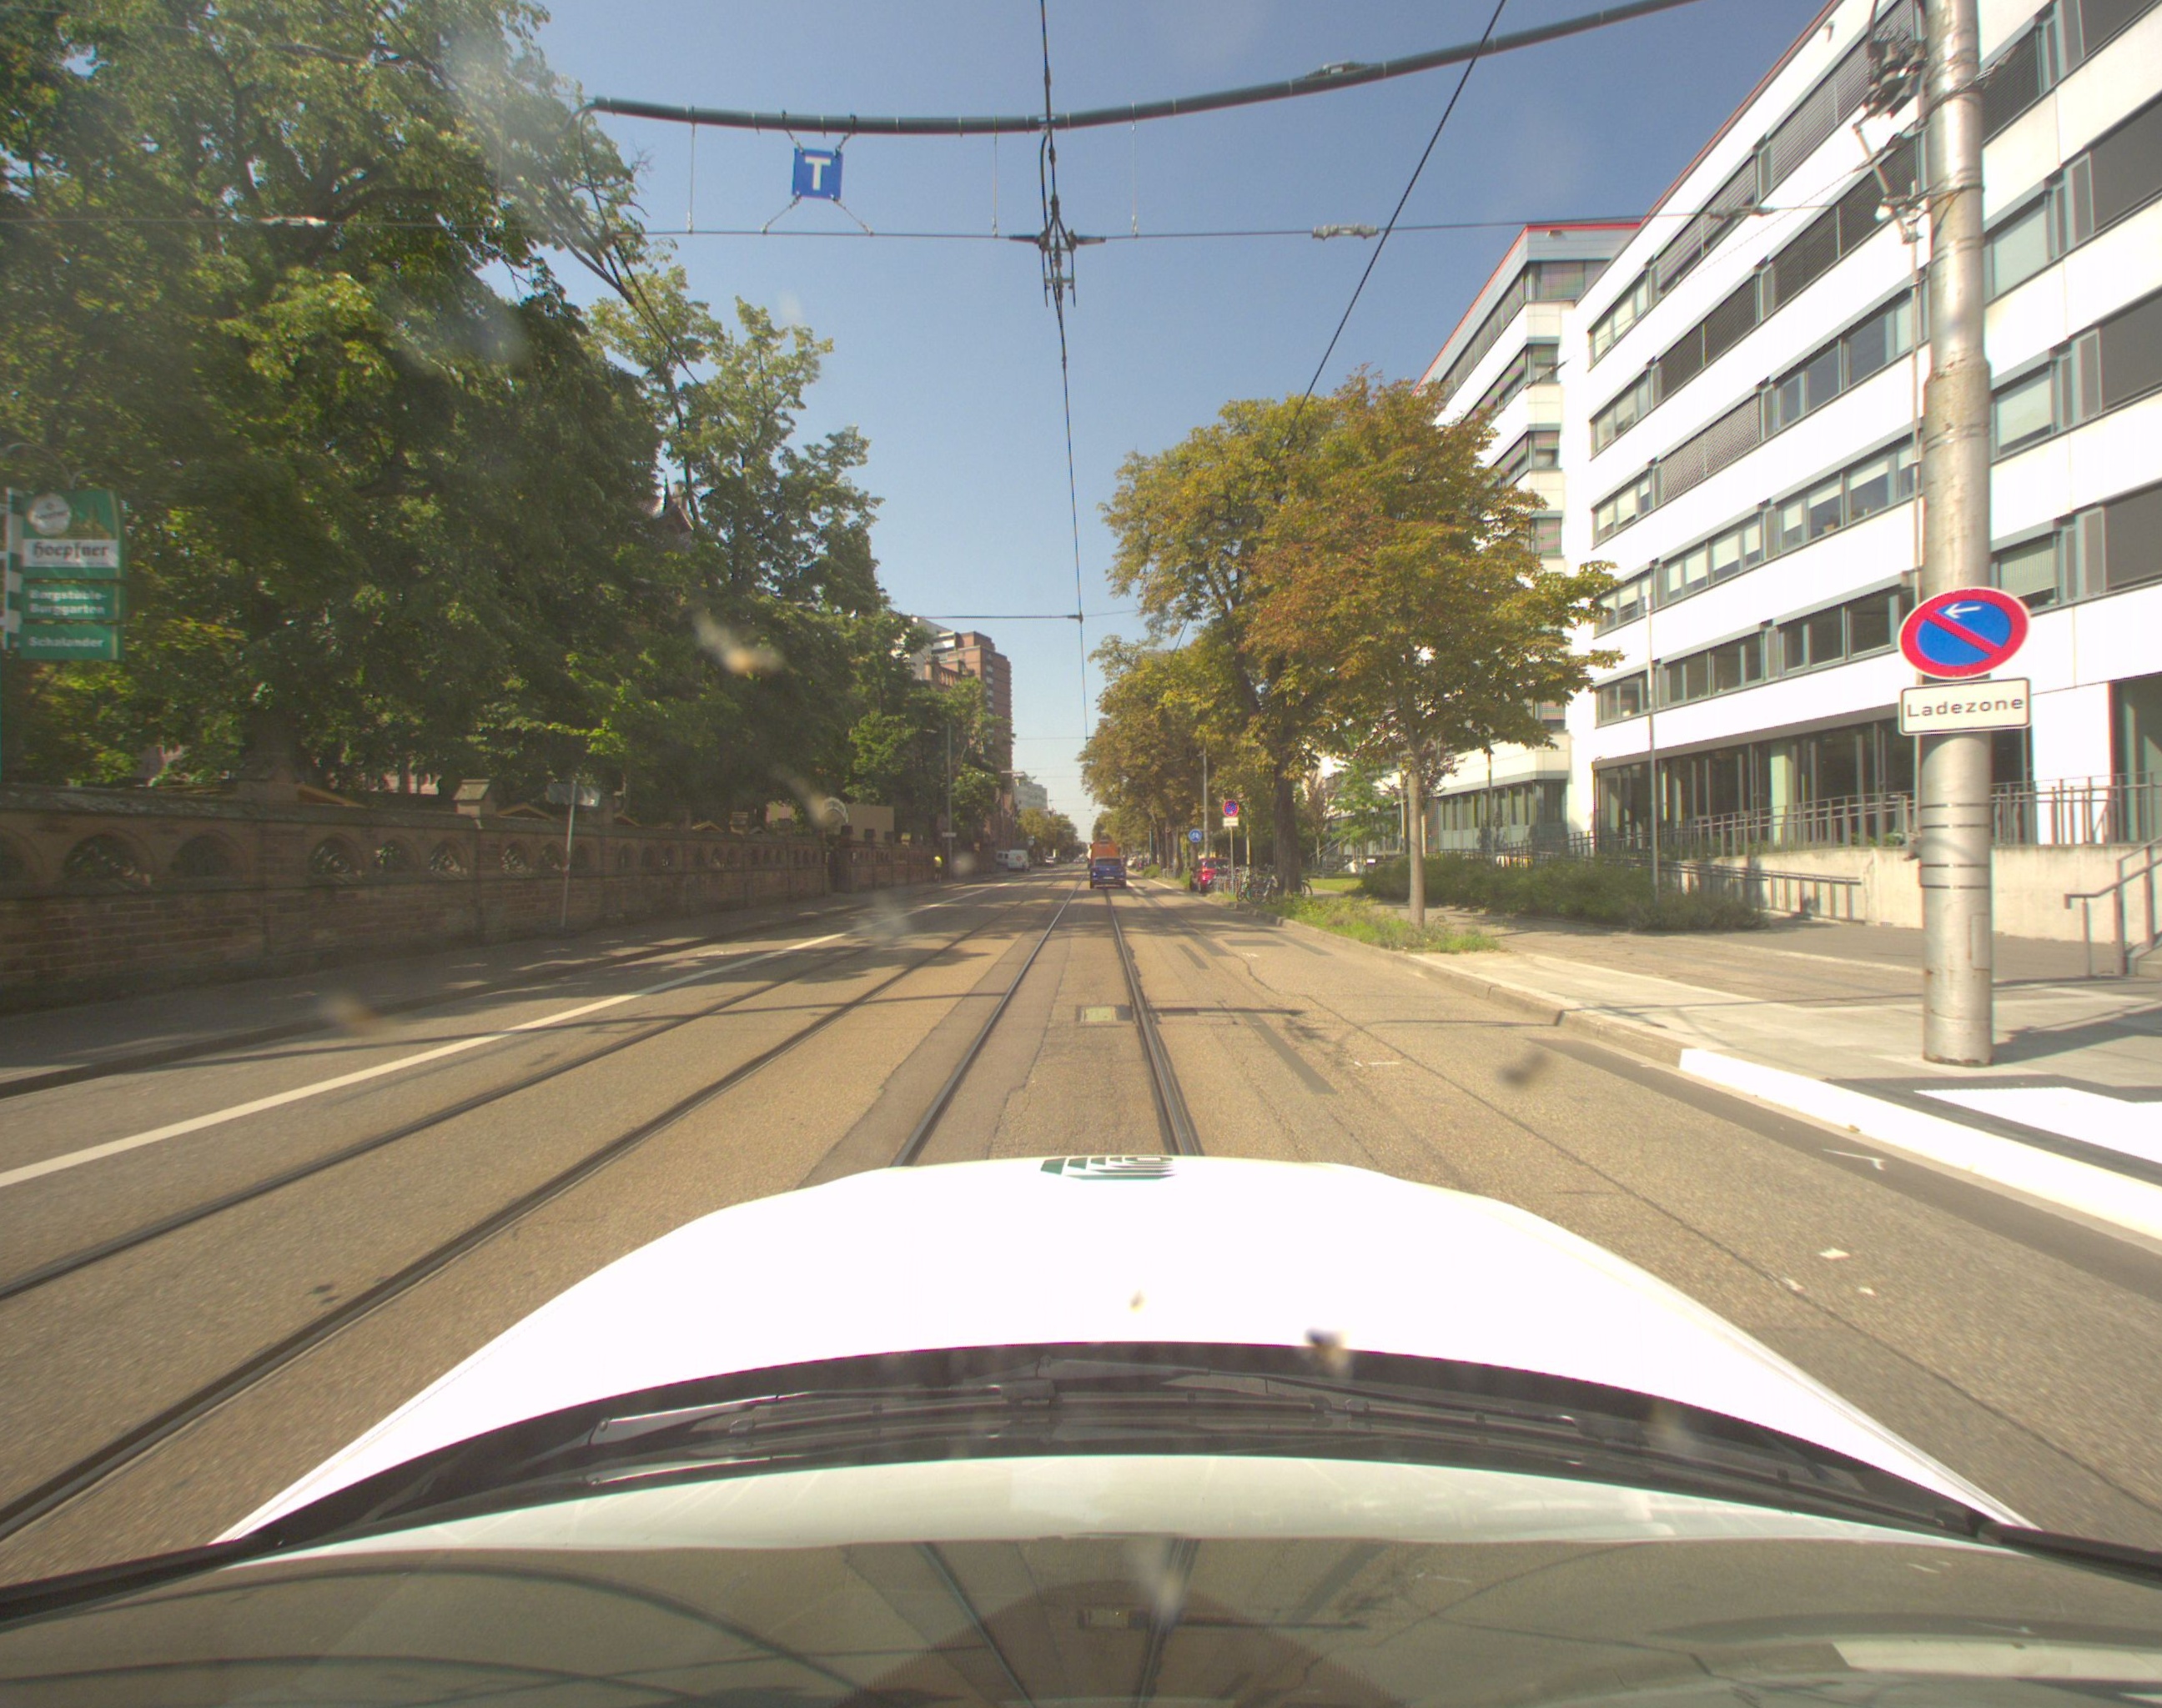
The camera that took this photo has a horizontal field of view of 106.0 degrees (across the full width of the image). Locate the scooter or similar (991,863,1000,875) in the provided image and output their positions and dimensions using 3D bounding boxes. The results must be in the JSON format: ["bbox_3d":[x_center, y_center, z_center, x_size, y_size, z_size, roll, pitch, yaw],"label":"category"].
[{"bbox_3d":[-8.540,1.502,81.702,0.336,1.178,1.185,-1,-1,26],"label":"scooter or similar"}]

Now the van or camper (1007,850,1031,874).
[{"bbox_3d":[-7.360,0.946,97.570,2.104,2.675,5.958,-1,-1,2],"label":"van or camper"}]

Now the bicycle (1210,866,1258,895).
[{"bbox_3d":[6.035,1.026,32.160,1.765,1.071,0.540,-2,-1,-1],"label":"bicycle"}]

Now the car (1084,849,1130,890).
[{"bbox_3d":[1.279,0.768,41.088,2.128,1.858,5.569,-2,-1,1],"label":"car"}]

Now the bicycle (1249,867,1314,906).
[{"bbox_3d":[5.921,0.952,24.148,1.765,1.071,0.540,-2,-1,-1],"label":"bicycle"}]

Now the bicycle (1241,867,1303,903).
[{"bbox_3d":[5.961,0.964,25.444,1.765,1.071,0.540,-2,-1,-1],"label":"bicycle"}]

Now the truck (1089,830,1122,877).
[{"bbox_3d":[1.716,-0.020,58.416,2.128,3.124,6.086,-2,-1,1],"label":"truck"}]

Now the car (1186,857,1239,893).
[{"bbox_3d":[5.794,0.881,36.307,1.749,1.462,4.275,-2,0,1],"label":"car"}]

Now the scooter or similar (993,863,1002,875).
[{"bbox_3d":[-8.569,1.524,84.009,0.336,1.178,1.185,-1,-1,26],"label":"scooter or similar"}]

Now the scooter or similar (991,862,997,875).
[{"bbox_3d":[-8.293,1.369,77.400,0.421,1.178,1.310,0,-1,-14],"label":"scooter or similar"}]

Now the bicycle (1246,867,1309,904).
[{"bbox_3d":[5.992,0.958,24.866,1.765,1.071,0.540,-2,-1,-1],"label":"bicycle"}]

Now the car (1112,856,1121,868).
[{"bbox_3d":[8.814,1.970,203.288,1.987,2.756,5.760,-1,-1,0],"label":"car"}]

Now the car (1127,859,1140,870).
[{"bbox_3d":[7.619,1.565,119.048,1.653,1.481,4.218,-2,-1,1],"label":"car"}]

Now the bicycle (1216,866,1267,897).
[{"bbox_3d":[5.948,1.009,30.247,1.765,1.071,0.540,-2,-1,-1],"label":"bicycle"}]

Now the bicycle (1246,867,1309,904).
[{"bbox_3d":[5.981,0.958,24.843,1.765,1.071,0.540,-2,-1,-1],"label":"bicycle"}]

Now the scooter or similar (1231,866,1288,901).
[{"bbox_3d":[5.933,0.979,27.077,1.765,1.071,0.540,-2,-1,-1],"label":"scooter or similar"}]

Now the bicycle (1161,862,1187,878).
[{"bbox_3d":[6.503,1.147,57.031,1.765,1.050,0.540,-2,-1,-1],"label":"bicycle"}]

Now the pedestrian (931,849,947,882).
[{"bbox_3d":[-8.830,0.715,50.660,0.861,2.014,0.983,-1,-1,-1],"label":"pedestrian"}]

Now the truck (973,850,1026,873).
[{"bbox_3d":[-10.238,0.930,102.440,6.289,2.538,2.134,2,1,5],"label":"truck"}]

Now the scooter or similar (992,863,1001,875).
[{"bbox_3d":[-8.606,1.514,82.875,0.336,1.178,1.185,-1,-1,26],"label":"scooter or similar"}]

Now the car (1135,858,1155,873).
[{"bbox_3d":[6.858,1.264,88.171,1.750,1.515,4.608,-2,-1,0],"label":"car"}]

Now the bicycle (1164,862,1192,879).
[{"bbox_3d":[6.475,1.124,54.551,1.765,1.050,0.540,-2,-1,-1],"label":"bicycle"}]

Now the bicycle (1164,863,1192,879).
[{"bbox_3d":[6.419,1.118,53.874,1.765,1.050,0.540,-2,-1,-1],"label":"bicycle"}]

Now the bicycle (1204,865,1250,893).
[{"bbox_3d":[6.028,1.040,33.609,1.765,1.071,0.540,-2,-1,-1],"label":"bicycle"}]

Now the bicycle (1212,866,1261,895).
[{"bbox_3d":[5.969,1.019,31.349,1.765,1.071,0.540,-2,-1,-1],"label":"bicycle"}]

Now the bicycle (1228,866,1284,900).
[{"bbox_3d":[5.924,0.985,27.665,1.765,1.071,0.540,-2,-1,-1],"label":"bicycle"}]

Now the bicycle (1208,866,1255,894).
[{"bbox_3d":[6.074,1.032,32.834,1.765,1.071,0.540,-2,-1,-1],"label":"bicycle"}]

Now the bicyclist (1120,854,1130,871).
[{"bbox_3d":[4.885,0.946,90.370,1.028,1.812,1.016,-1,-1,1],"label":"bicyclist"}]

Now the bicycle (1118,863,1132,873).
[{"bbox_3d":[4.857,1.525,90.362,1.397,1.134,4.000,-1,-1,1],"label":"bicycle"}]
